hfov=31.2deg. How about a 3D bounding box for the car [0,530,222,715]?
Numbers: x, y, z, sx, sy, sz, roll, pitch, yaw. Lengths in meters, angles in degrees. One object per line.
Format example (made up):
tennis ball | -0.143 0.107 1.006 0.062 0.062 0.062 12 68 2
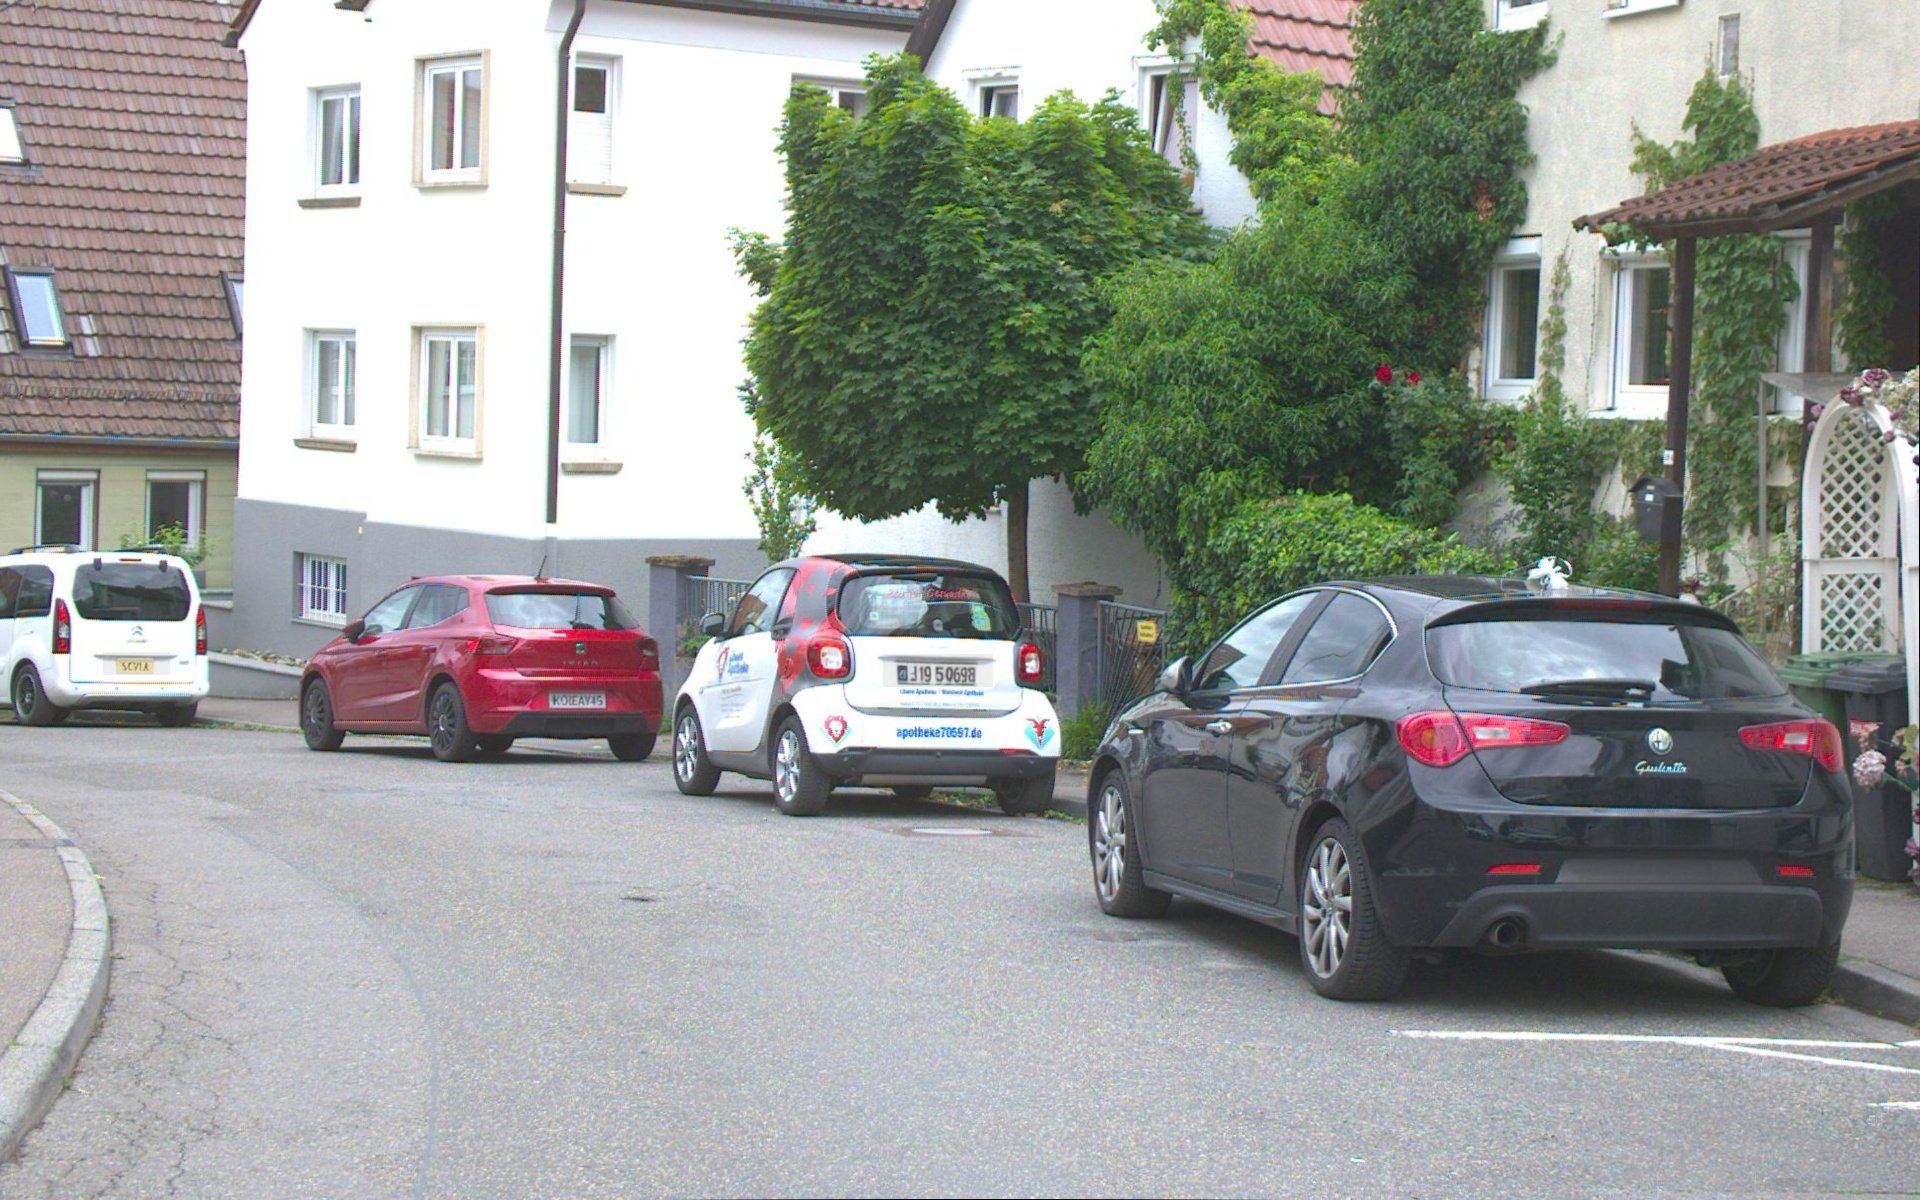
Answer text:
car | -9.561 0.225 35.796 1.836 1.808 4.302 1 -1 -41

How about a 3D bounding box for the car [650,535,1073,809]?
car | -0.670 0.417 21.237 1.611 1.527 2.898 3 -1 -23

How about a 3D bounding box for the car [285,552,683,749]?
car | -3.854 0.382 27.356 1.679 1.447 3.852 1 0 -33

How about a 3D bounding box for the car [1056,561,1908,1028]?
car | 1.745 0.613 12.917 1.717 1.402 4.004 2 1 -14
